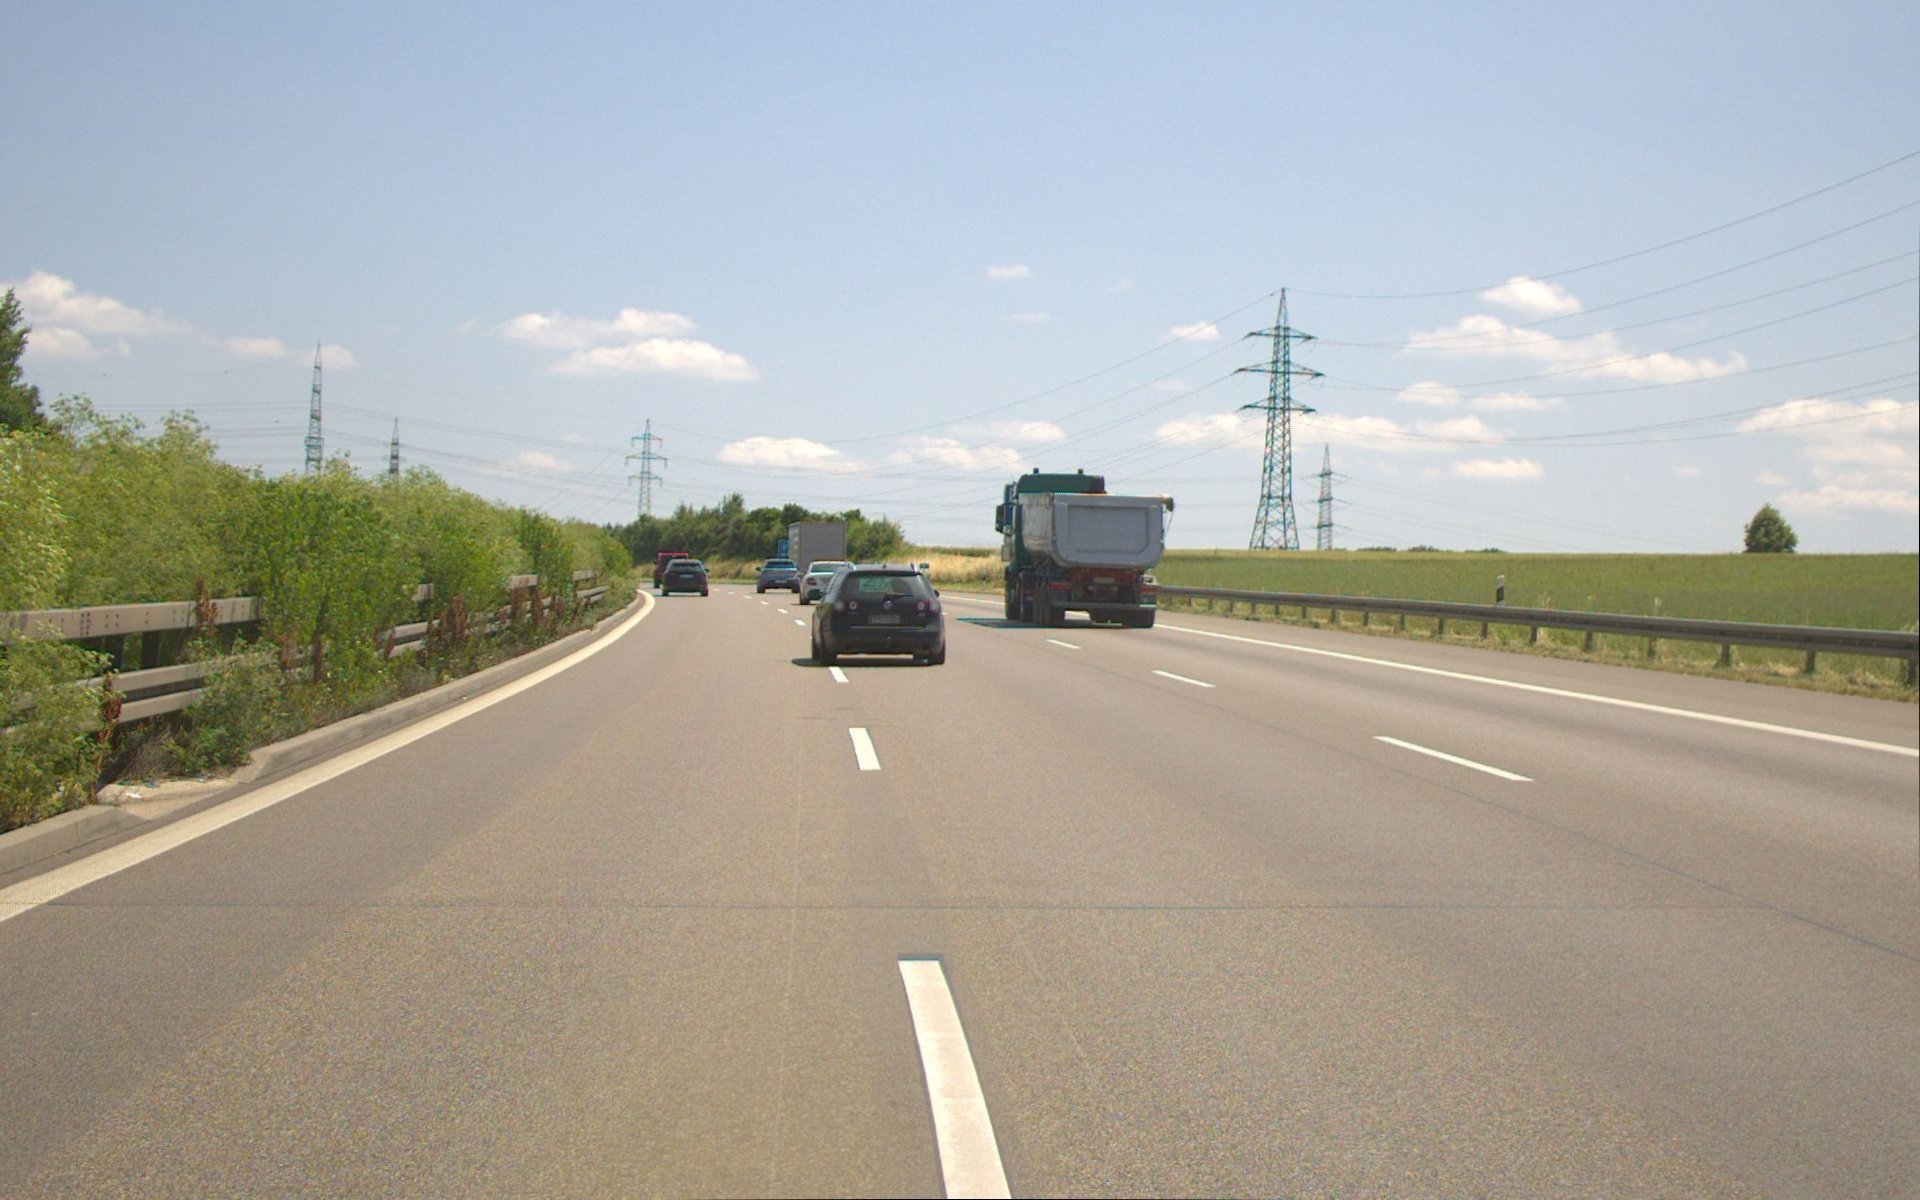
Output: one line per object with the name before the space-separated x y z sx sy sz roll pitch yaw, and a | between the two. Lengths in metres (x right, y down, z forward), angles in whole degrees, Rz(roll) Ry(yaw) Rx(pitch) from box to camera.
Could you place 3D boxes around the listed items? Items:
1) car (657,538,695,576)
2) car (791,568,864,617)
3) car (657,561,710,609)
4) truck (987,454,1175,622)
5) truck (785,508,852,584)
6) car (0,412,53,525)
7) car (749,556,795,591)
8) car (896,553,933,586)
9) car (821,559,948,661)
car | -14.687 -2.198 177.551 1.901 1.919 4.001 0 0 -5
car | -4.352 -0.261 112.454 1.819 1.535 3.915 0 0 -11
car | -10.898 -0.604 135.536 1.993 1.853 4.001 1 0 -3
truck | 2.753 -1.433 82.853 2.864 3.711 12.765 0 0 -5
truck | -7.733 -2.904 186.631 3.220 3.911 9.062 1 0 -5
car | -22.788 -3.013 79.567 2.569 2.443 5.514 0 0 -5
car | -8.342 -1.179 152.235 1.838 1.535 3.915 0 0 -6
car | -2.592 -1.746 195.126 1.993 1.846 4.000 0 0 -2
car | -1.143 0.127 50.384 1.756 1.424 4.000 0 0 -2
